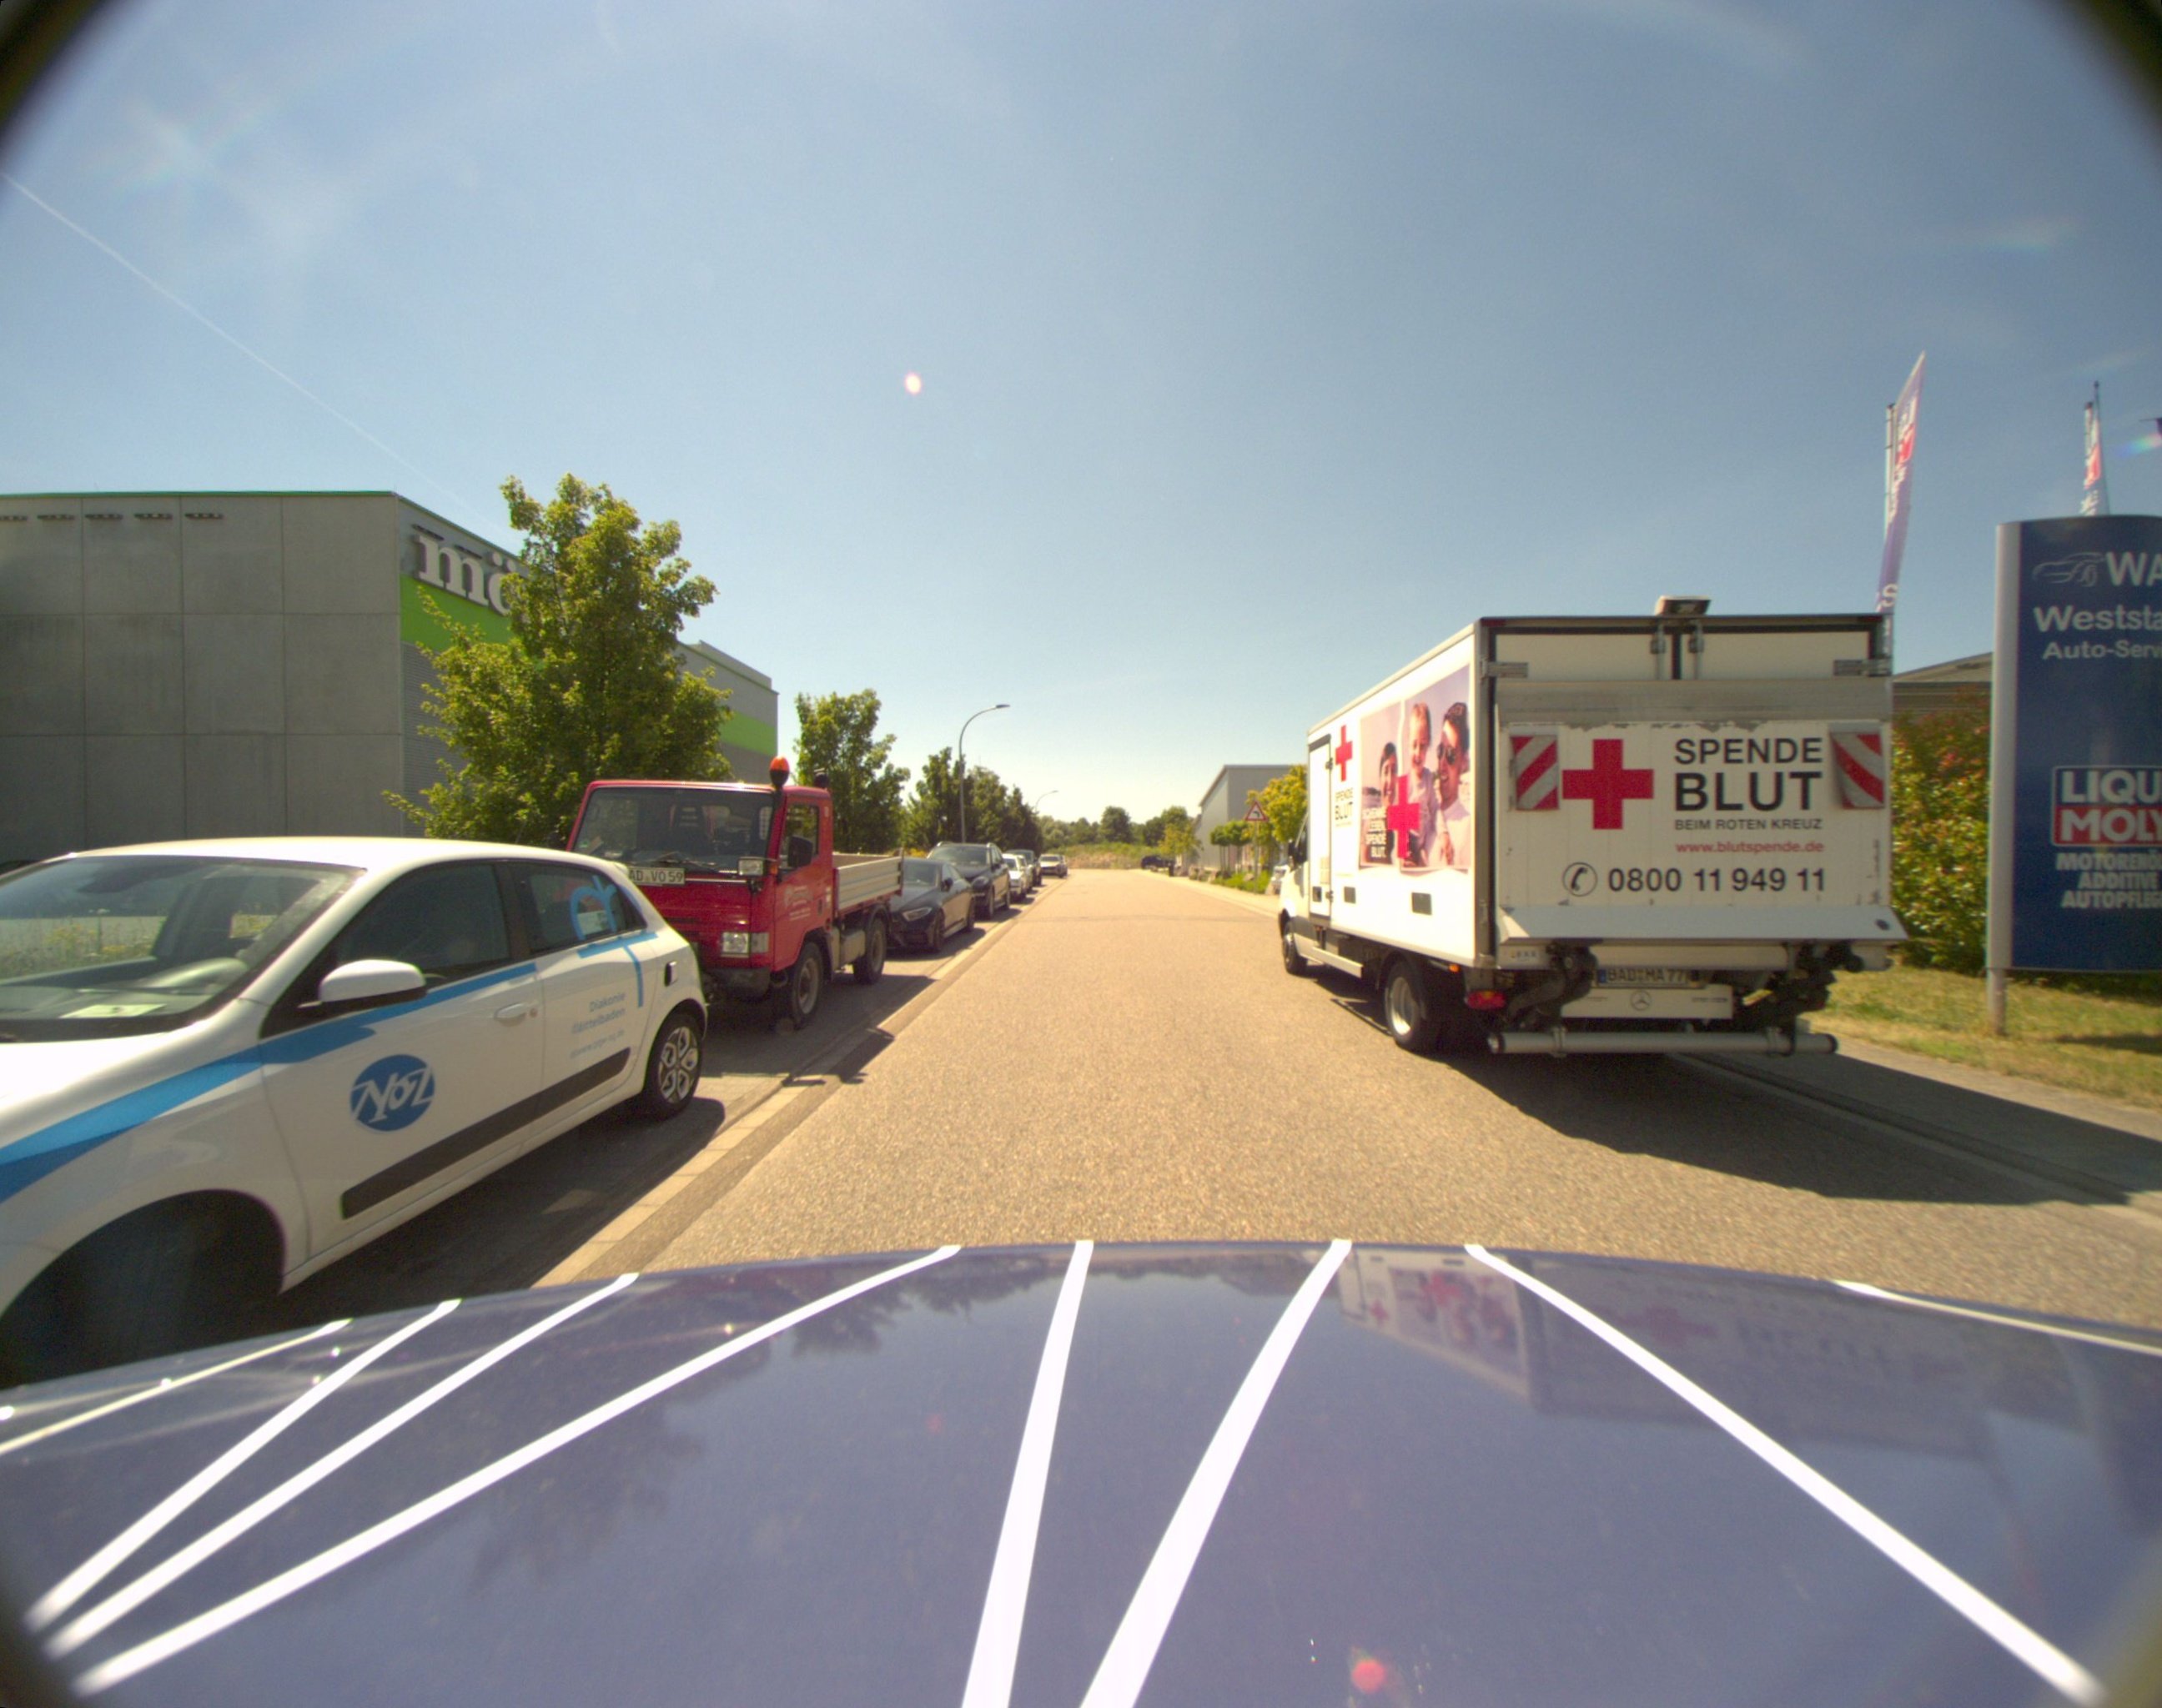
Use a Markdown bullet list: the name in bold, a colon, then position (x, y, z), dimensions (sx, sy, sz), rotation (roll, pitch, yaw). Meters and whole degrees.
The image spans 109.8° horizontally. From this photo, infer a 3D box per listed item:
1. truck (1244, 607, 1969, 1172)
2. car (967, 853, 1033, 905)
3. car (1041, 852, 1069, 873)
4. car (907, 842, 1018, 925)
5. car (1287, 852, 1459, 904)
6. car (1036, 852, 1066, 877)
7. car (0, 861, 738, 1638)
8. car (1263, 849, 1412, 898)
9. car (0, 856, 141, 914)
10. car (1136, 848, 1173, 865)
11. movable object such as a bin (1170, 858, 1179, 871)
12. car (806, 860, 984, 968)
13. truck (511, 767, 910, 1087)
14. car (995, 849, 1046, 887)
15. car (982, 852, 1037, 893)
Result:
- **truck**: position (3.375, 0.154, 7.126), dimensions (2.367, 2.843, 6.415), rotation (2, 1, 1)
- **car**: position (-2.506, 0.728, 24.435), dimensions (1.718, 1.474, 4.772), rotation (1, 0, -2)
- **car**: position (-2.251, 0.729, 66.339), dimensions (2.149, 1.688, 4.785), rotation (1, 0, 1)
- **car**: position (-2.727, 0.633, 18.612), dimensions (1.815, 1.715, 4.774), rotation (1, 0, 2)
- **car**: position (8.369, 0.670, 22.082), dimensions (4.319, 1.423, 1.847), rotation (0, 0, 2)
- **car**: position (-2.039, 0.692, 53.261), dimensions (1.809, 1.626, 4.458), rotation (1, 0, 1)
- **car**: position (-3.132, 0.852, 2.996), dimensions (1.743, 1.522, 3.999), rotation (2, 1, 0)
- **car**: position (8.304, 0.603, 24.866), dimensions (4.273, 1.509, 1.866), rotation (0, 0, 0)
- **car**: position (-28.958, 0.836, 21.336), dimensions (3.394, 1.524, 1.550), rotation (0, 1, 5)
- **car**: position (8.696, 0.302, 90.471), dimensions (4.172, 1.649, 1.781), rotation (-5, 1, 1)
- **movable object such as a bin**: position (6.832, 0.791, 55.698), dimensions (0.572, 0.944, 0.512), rotation (-1, 0, -4)
- **car**: position (-2.895, 0.857, 12.974), dimensions (1.702, 1.375, 4.837), rotation (2, 0, 1)
- **truck**: position (-3.069, 0.491, 7.459), dimensions (1.683, 2.169, 4.390), rotation (2, 1, 1)
- **car**: position (-2.851, 0.643, 36.868), dimensions (1.953, 1.691, 4.545), rotation (1, 0, 2)
- **car**: position (-2.745, 0.682, 30.076), dimensions (1.809, 1.474, 4.772), rotation (1, 0, -2)
